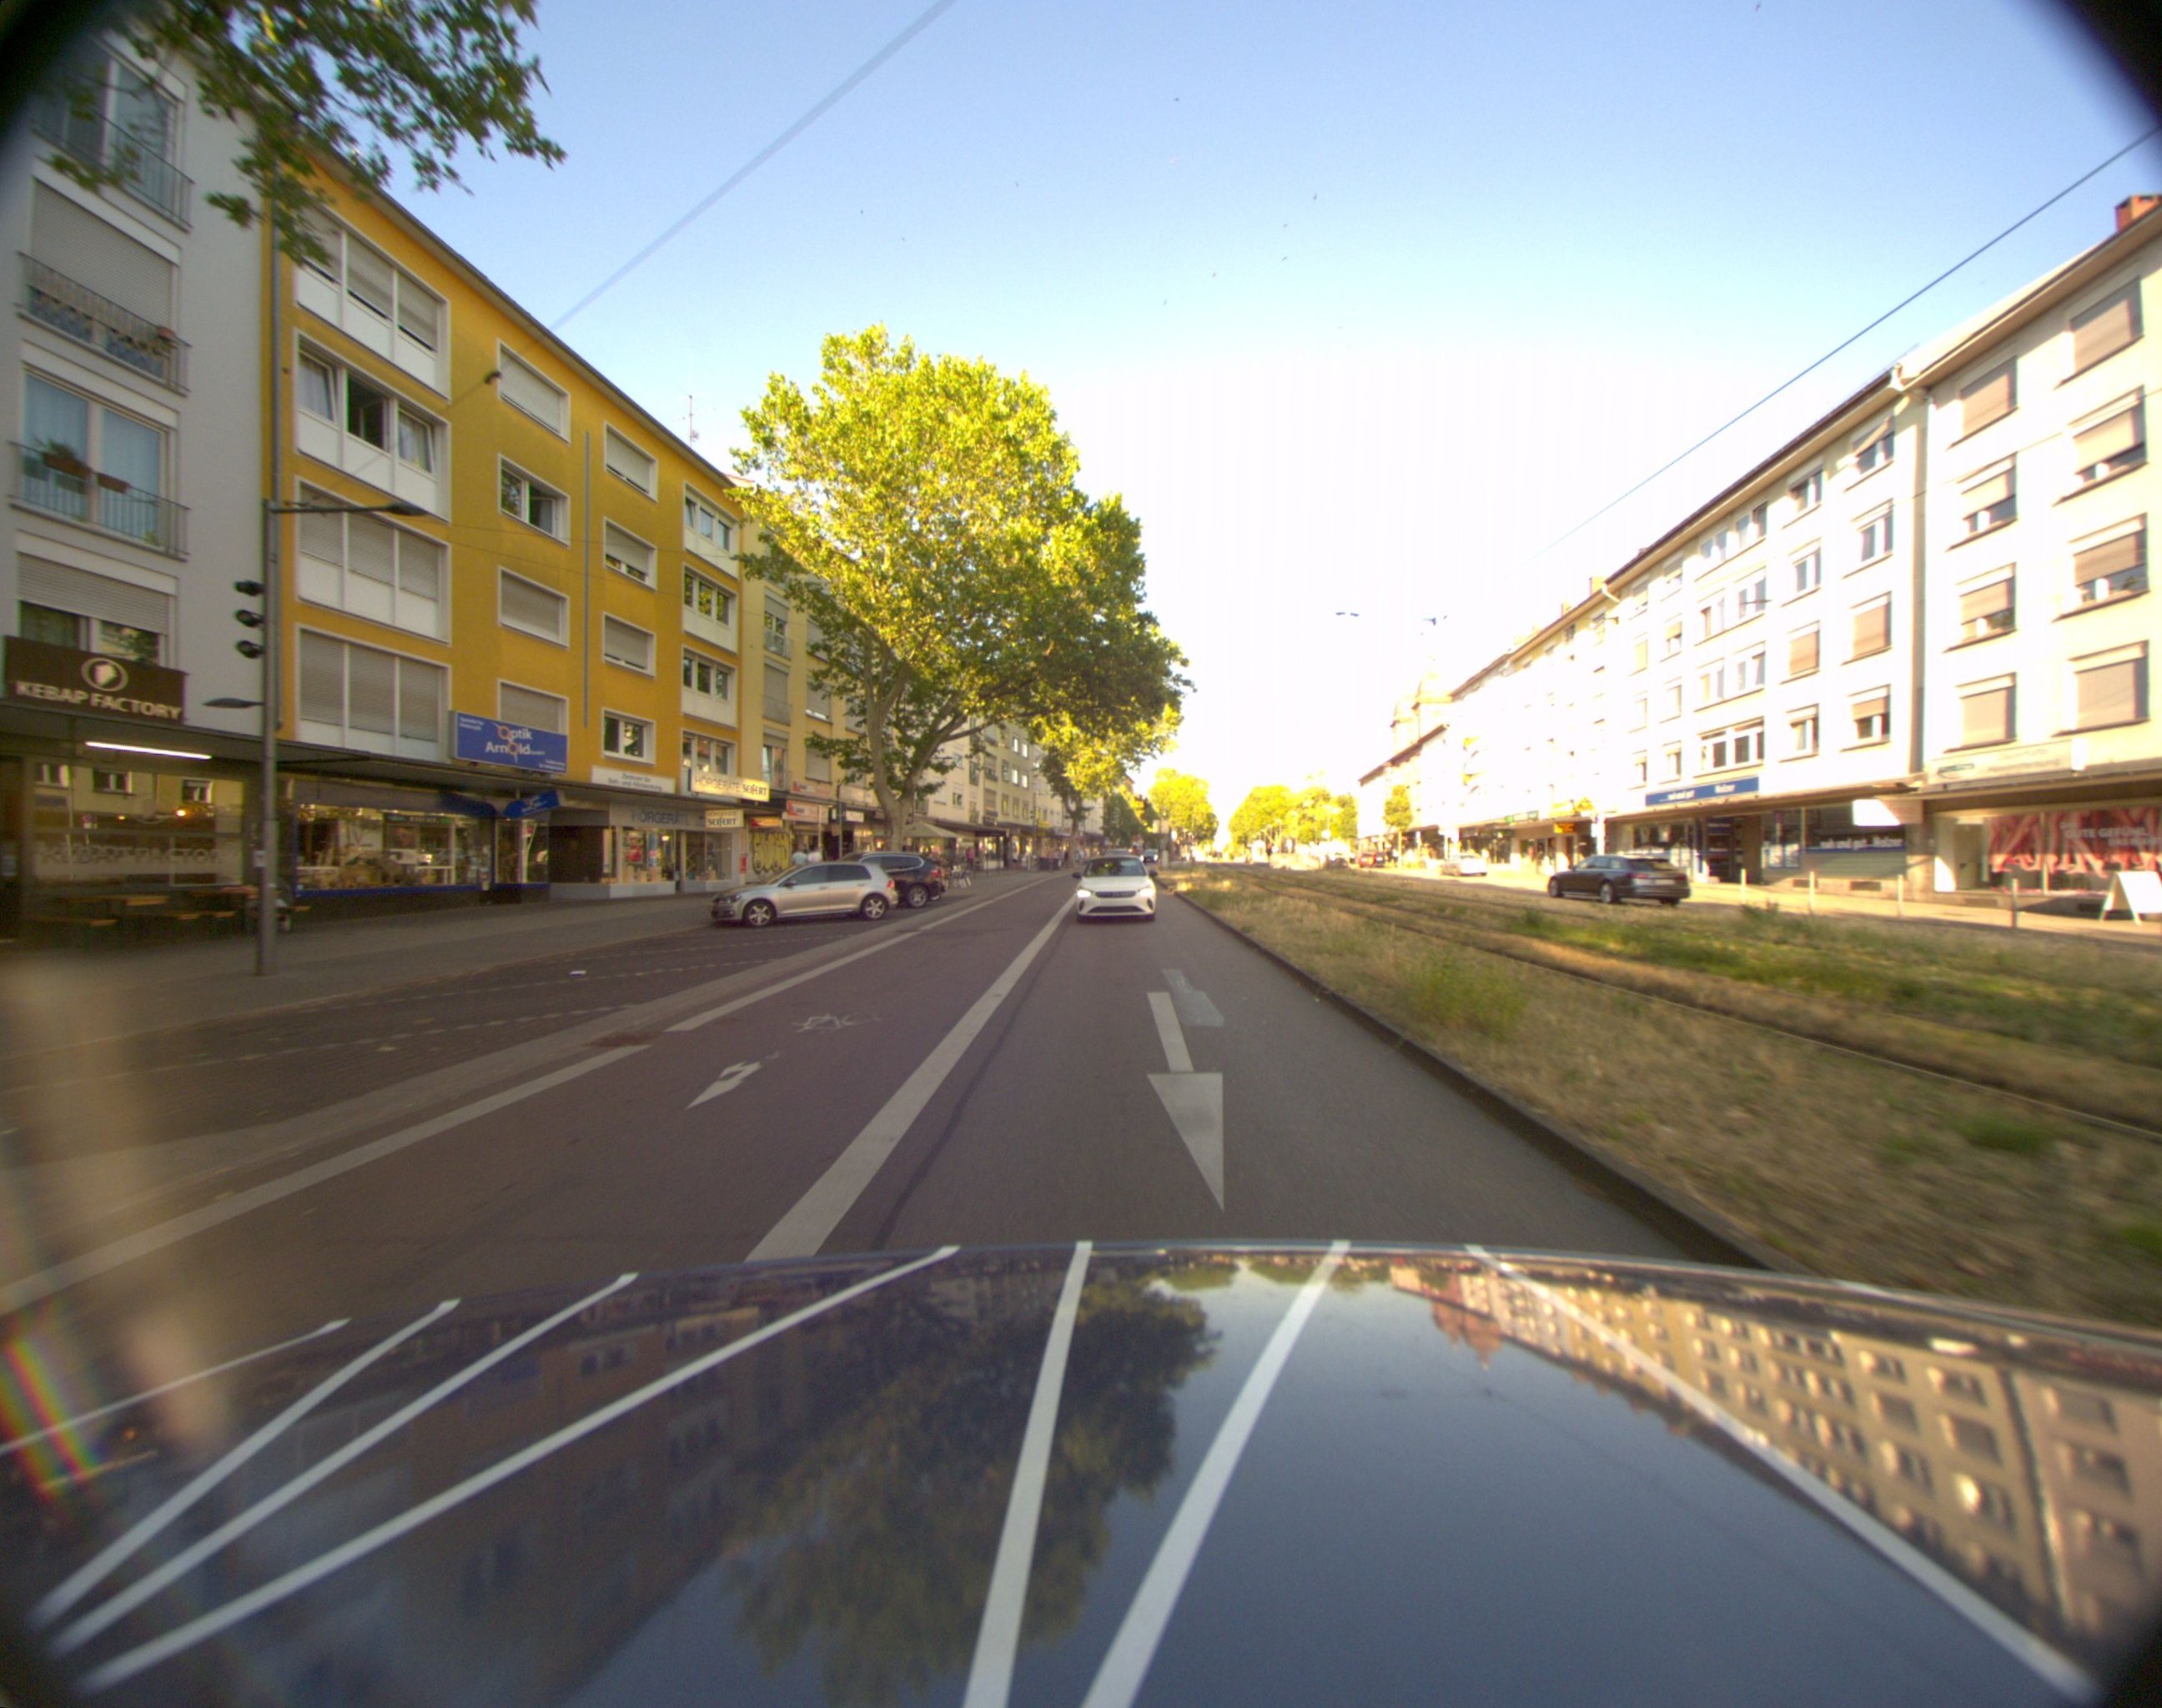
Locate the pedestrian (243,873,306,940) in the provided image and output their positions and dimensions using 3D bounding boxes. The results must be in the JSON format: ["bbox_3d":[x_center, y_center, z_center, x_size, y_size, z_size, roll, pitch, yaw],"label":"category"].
[{"bbox_3d":[-14.481,0.935,13.657,0.419,1.150,0.625,0,1,6],"label":"pedestrian"}]

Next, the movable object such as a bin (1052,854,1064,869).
[{"bbox_3d":[-1.851,0.612,61.973,0.723,1.096,0.645,4,3,16],"label":"movable object such as a bin"}]

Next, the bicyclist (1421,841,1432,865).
[{"bbox_3d":[27.695,-0.087,60.902,0.693,1.876,1.059,0,1,19],"label":"bicyclist"}]

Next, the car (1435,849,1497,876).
[{"bbox_3d":[23.686,0.484,46.894,1.997,1.469,4.413,-2,0,7],"label":"car"}]

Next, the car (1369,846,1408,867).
[{"bbox_3d":[28.480,0.221,70.291,3.776,1.789,1.859,-3,1,-42],"label":"car"}]

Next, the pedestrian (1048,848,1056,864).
[{"bbox_3d":[-2.741,0.199,70.970,0.541,1.493,0.896,2,0,10],"label":"pedestrian"}]

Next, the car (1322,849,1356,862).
[{"bbox_3d":[31.680,0.200,93.292,4.007,1.521,1.865,-2,1,-35],"label":"car"}]

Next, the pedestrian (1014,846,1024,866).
[{"bbox_3d":[-5.052,0.191,61.546,0.623,1.577,0.627,2,1,8],"label":"pedestrian"}]

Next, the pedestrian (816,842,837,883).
[{"bbox_3d":[-11.316,0.365,33.823,0.635,1.793,0.628,1,1,39],"label":"pedestrian"}]

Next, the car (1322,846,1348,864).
[{"bbox_3d":[21.168,0.074,63.394,1.725,1.500,3.479,0,1,12],"label":"car"}]

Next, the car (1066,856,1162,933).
[{"bbox_3d":[0.732,0.798,16.754,1.826,1.433,3.828,-2,0,2],"label":"car"}]

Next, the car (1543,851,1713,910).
[{"bbox_3d":[16.274,0.705,22.979,1.998,1.550,4.776,0,1,5],"label":"car"}]

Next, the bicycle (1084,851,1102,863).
[{"bbox_3d":[1.280,0.312,84.358,1.794,1.118,0.663,4,2,-17],"label":"bicycle"}]

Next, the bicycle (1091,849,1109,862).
[{"bbox_3d":[2.090,0.169,83.060,1.787,1.304,0.695,6,2,22],"label":"bicycle"}]

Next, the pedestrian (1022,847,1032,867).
[{"bbox_3d":[-4.362,0.226,61.599,0.636,1.577,0.627,2,1,8],"label":"pedestrian"}]

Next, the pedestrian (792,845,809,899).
[{"bbox_3d":[-9.594,0.603,26.039,0.518,1.822,0.474,-1,1,-19],"label":"pedestrian"}]

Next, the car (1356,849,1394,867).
[{"bbox_3d":[28.256,0.377,73.030,3.776,1.482,1.859,-3,1,-42],"label":"car"}]

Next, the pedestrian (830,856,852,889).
[{"bbox_3d":[-9.604,0.725,30.414,0.584,1.267,0.759,-2,1,3],"label":"pedestrian"}]

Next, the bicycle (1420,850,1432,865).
[{"bbox_3d":[27.817,0.272,61.279,0.706,1.152,2.201,0,1,18],"label":"bicycle"}]

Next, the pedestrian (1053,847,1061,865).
[{"bbox_3d":[-2.223,0.151,70.285,0.547,1.619,0.896,2,0,10],"label":"pedestrian"}]

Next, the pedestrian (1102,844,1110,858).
[{"bbox_3d":[3.318,-0.404,101.972,0.774,1.789,0.931,3,1,12],"label":"pedestrian"}]

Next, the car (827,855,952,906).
[{"bbox_3d":[-6.289,0.812,25.102,3.615,1.531,1.737,-1,1,-38],"label":"car"}]

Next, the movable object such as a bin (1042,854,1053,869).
[{"bbox_3d":[-2.727,0.601,61.964,0.723,1.066,0.644,7,2,8],"label":"movable object such as a bin"}]

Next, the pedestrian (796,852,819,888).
[{"bbox_3d":[-11.989,0.702,33.294,0.625,1.538,0.638,5,4,34],"label":"pedestrian"}]

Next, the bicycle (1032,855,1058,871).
[{"bbox_3d":[-2.745,0.679,58.206,1.909,1.098,0.519,2,2,16],"label":"bicycle"}]

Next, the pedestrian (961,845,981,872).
[{"bbox_3d":[-7.421,0.287,51.164,0.969,1.753,1.134,1,2,11],"label":"pedestrian"}]

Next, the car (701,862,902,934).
[{"bbox_3d":[-6.624,0.964,18.173,4.185,1.443,1.805,-1,1,-35],"label":"car"}]

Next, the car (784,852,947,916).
[{"bbox_3d":[-6.204,0.788,22.078,4.159,1.671,1.804,-1,1,-38],"label":"car"}]

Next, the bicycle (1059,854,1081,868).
[{"bbox_3d":[-0.899,0.562,64.266,1.720,1.111,0.745,0,4,10],"label":"bicycle"}]

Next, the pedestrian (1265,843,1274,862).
[{"bbox_3d":[17.982,-0.166,72.489,0.743,1.838,0.590,0,1,4],"label":"pedestrian"}]

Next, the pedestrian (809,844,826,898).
[{"bbox_3d":[-9.036,0.582,26.068,0.518,1.822,0.474,-1,1,-24],"label":"pedestrian"}]
